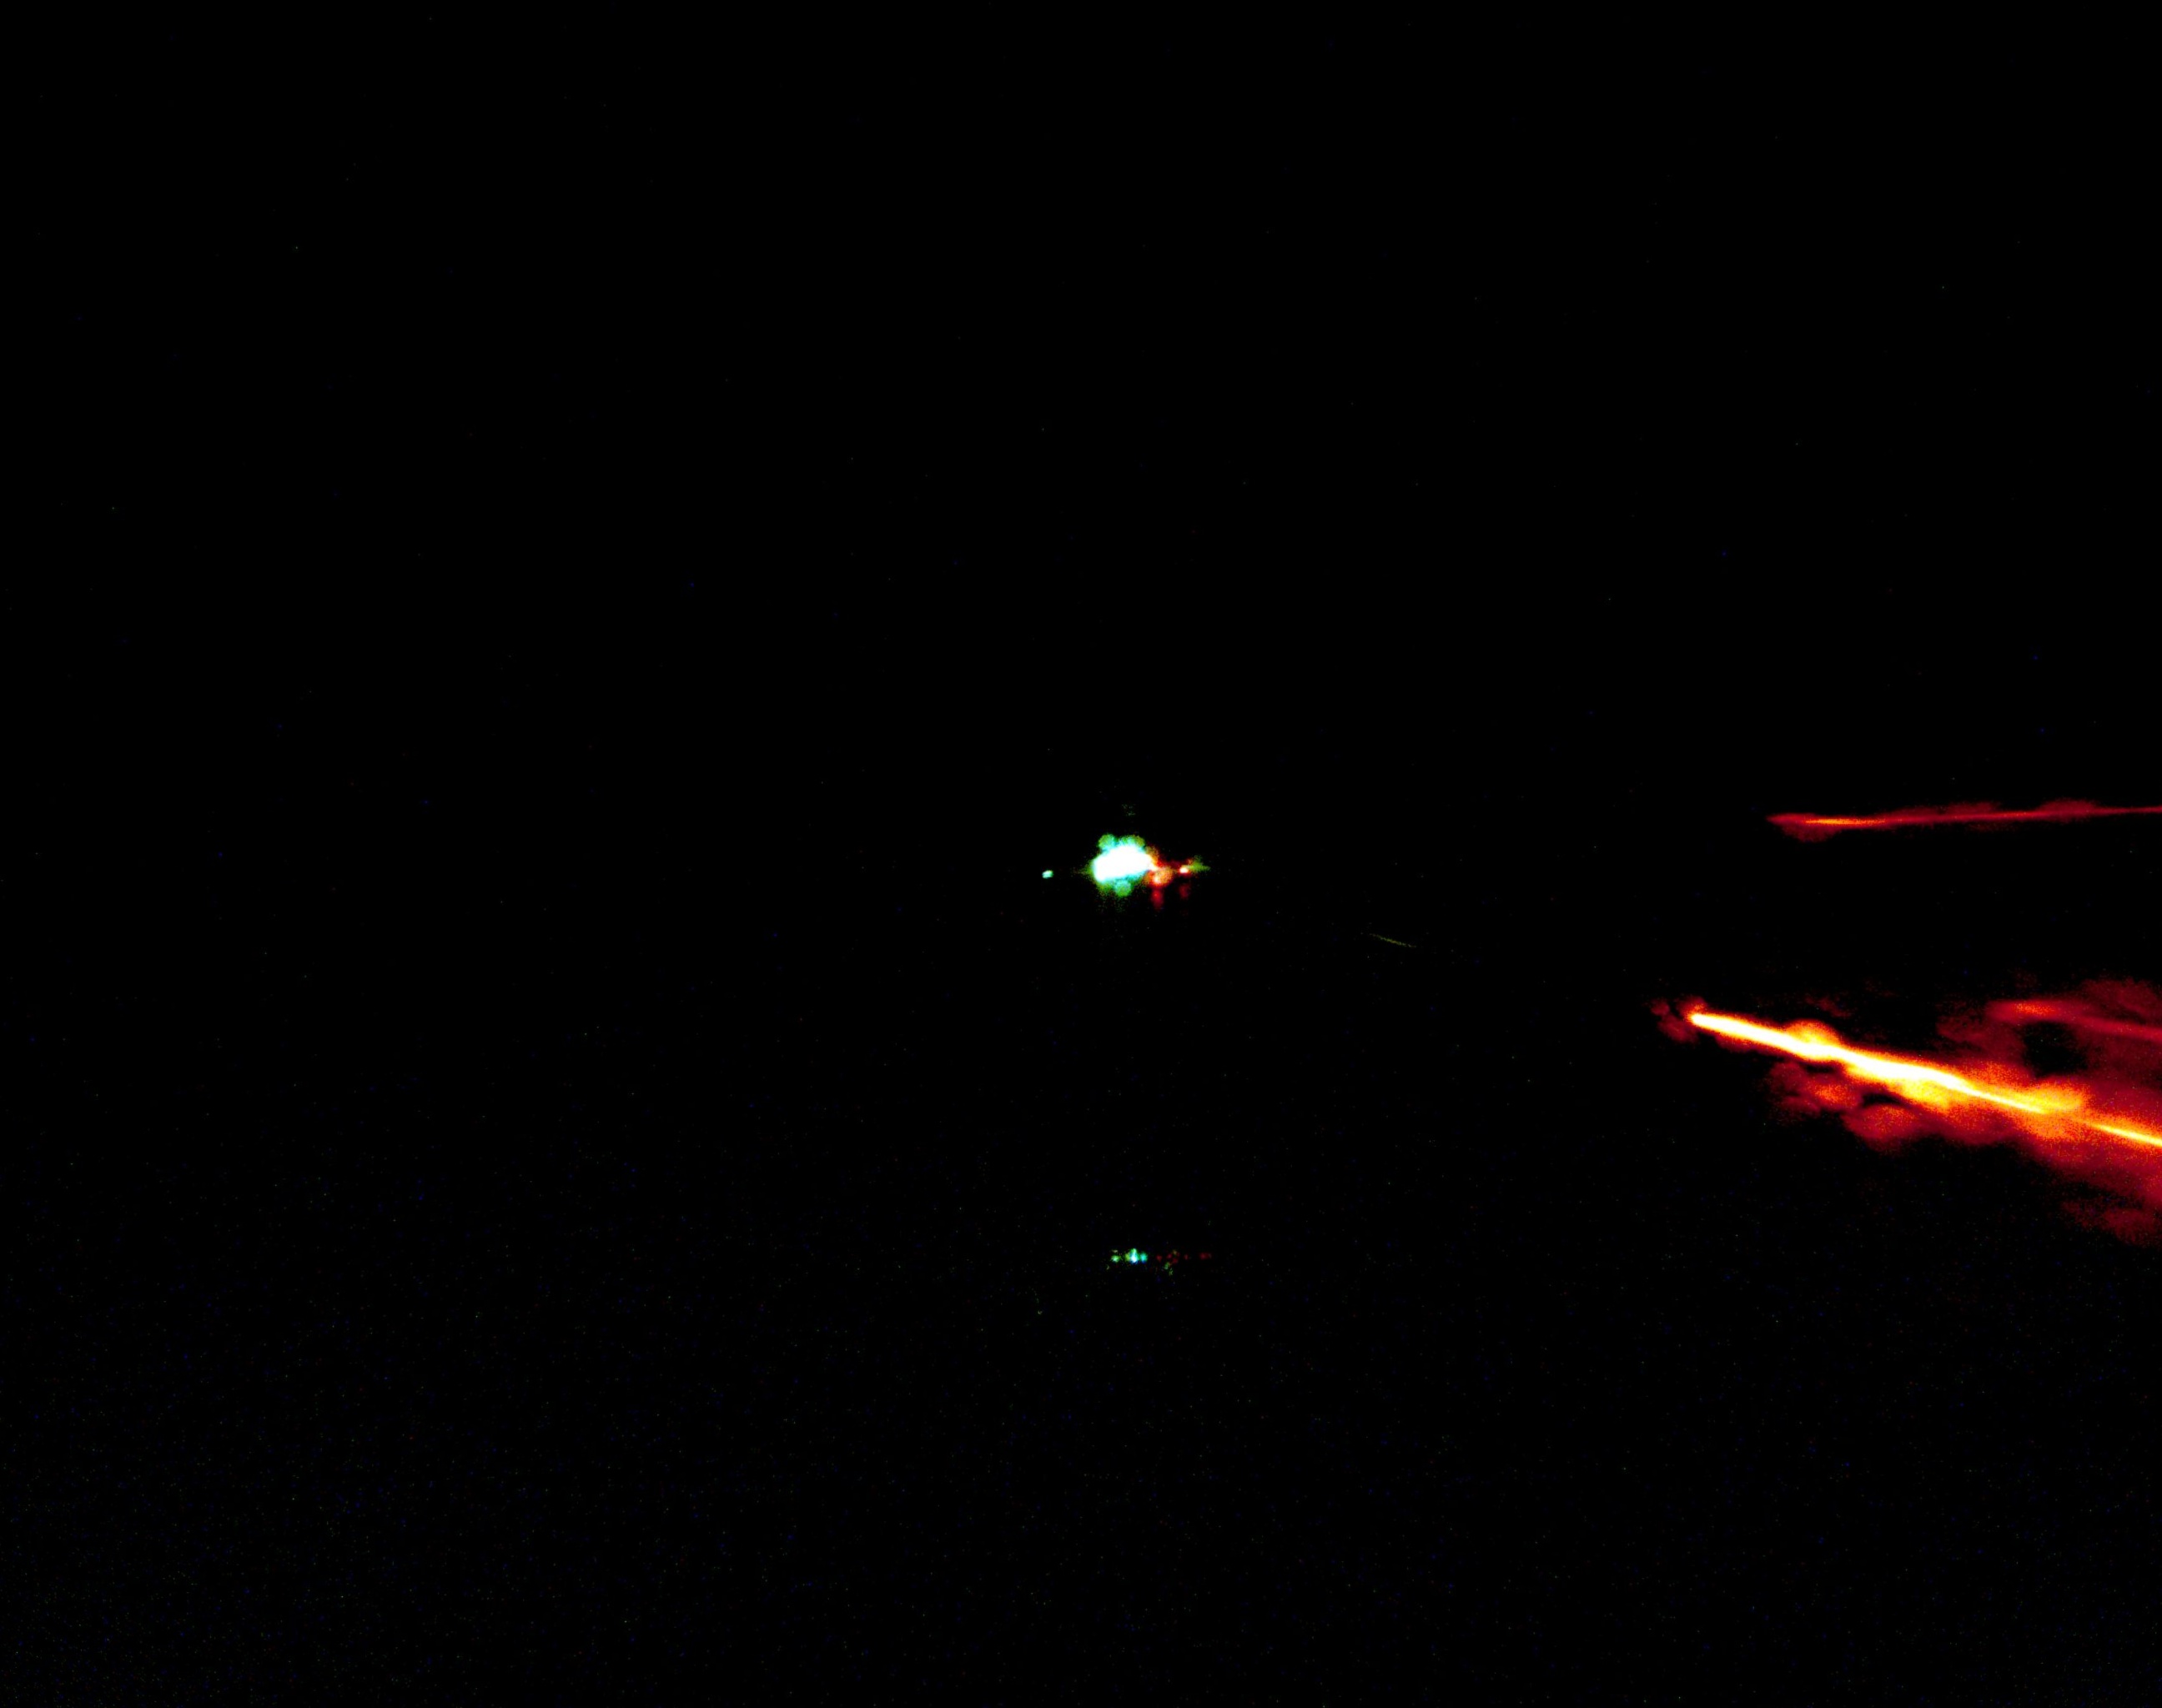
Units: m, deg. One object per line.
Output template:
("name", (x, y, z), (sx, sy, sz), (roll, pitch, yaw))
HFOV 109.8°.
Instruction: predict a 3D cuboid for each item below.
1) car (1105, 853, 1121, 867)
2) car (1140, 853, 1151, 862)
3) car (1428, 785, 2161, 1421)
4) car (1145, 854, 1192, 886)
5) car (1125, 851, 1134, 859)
("car", (3.794, 0.716, 89.966), (1.746, 1.624, 3.736), (-1, 0, 3))
("car", (12.126, 0.589, 143.167), (1.747, 1.624, 3.736), (-1, 0, 1))
("car", (3.597, 0.657, 4.022), (1.747, 1.749, 3.877), (-2, 0, 1))
("car", (4.219, 0.736, 37.328), (1.998, 1.385, 4.596), (-2, 0, 3))
("car", (10.760, 0.262, 168.296), (1.747, 1.624, 3.735), (-1, 0, -1))
